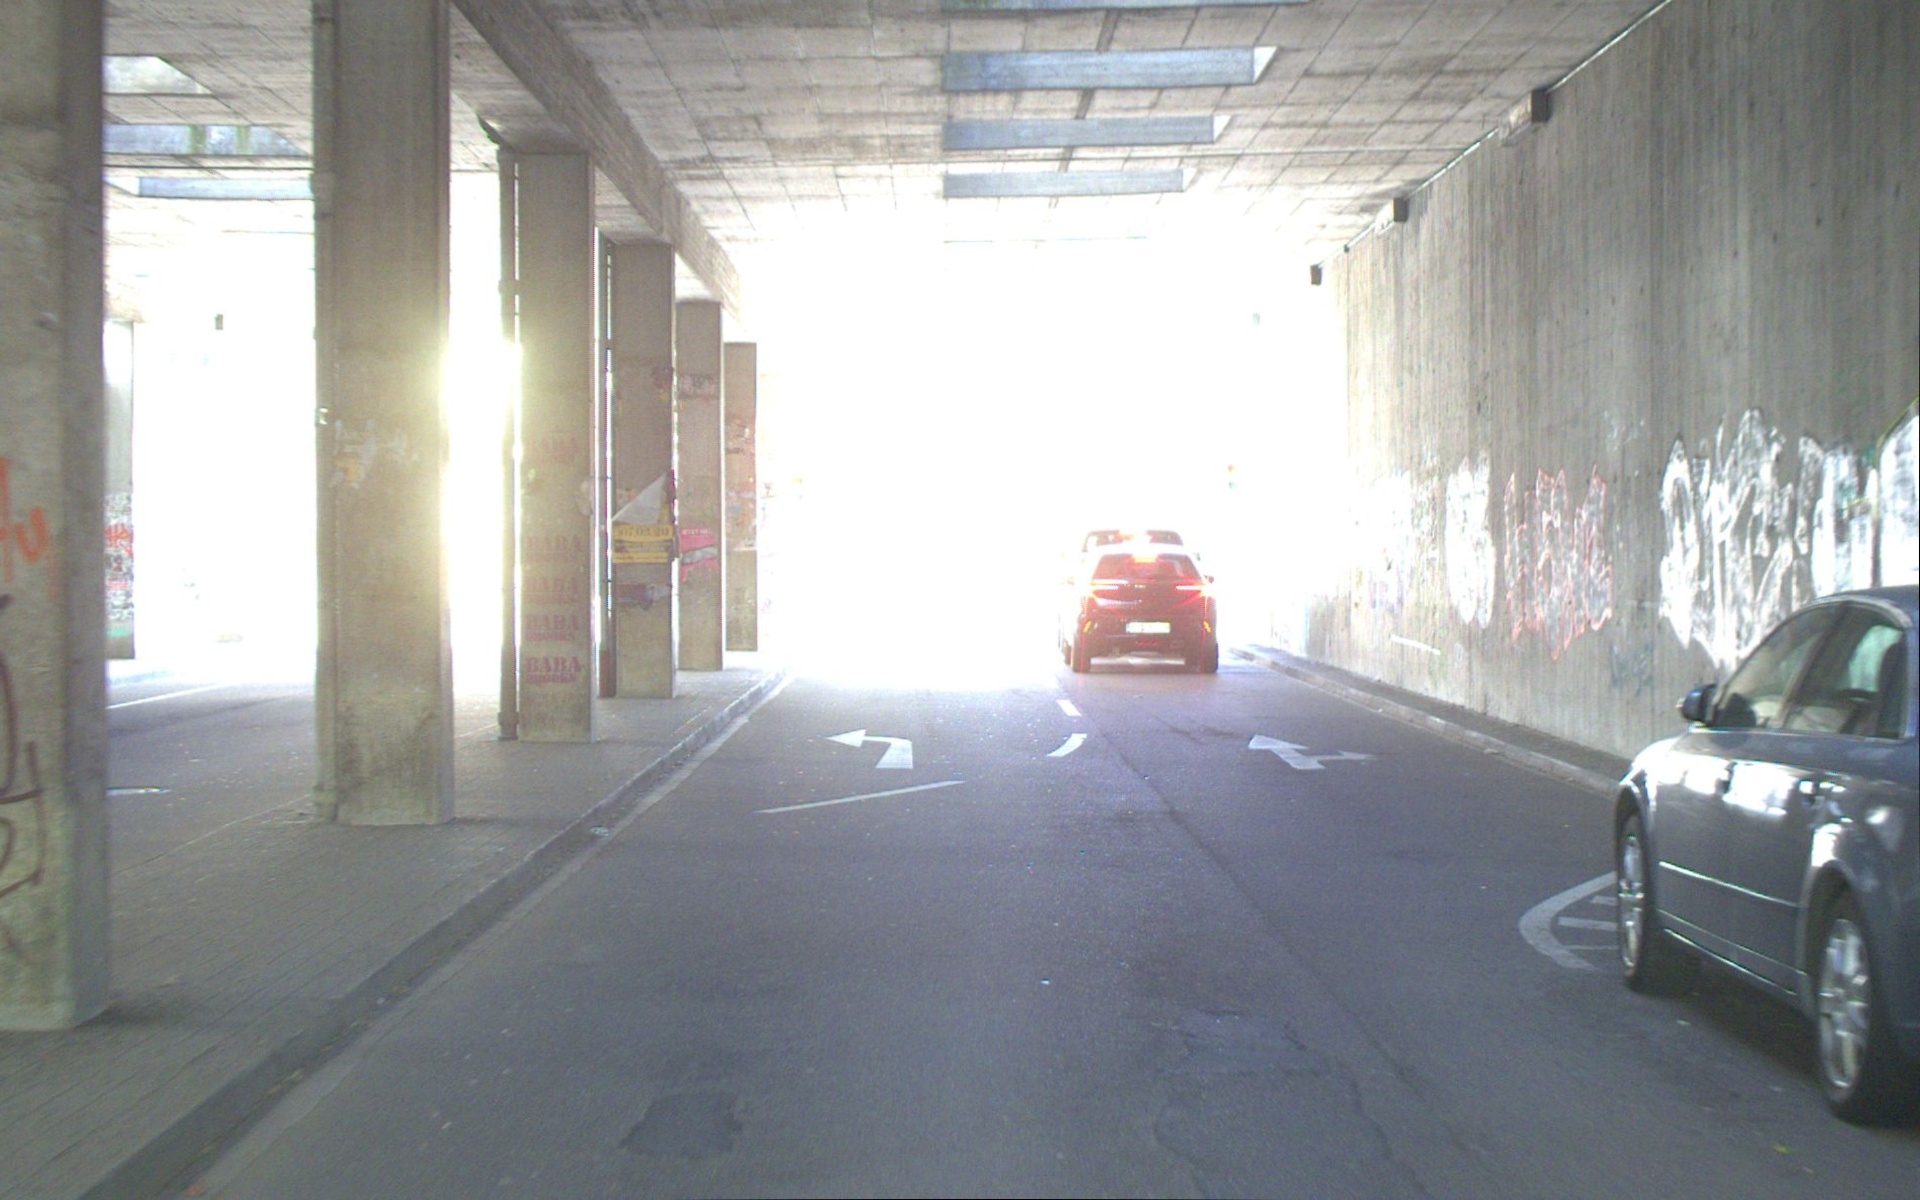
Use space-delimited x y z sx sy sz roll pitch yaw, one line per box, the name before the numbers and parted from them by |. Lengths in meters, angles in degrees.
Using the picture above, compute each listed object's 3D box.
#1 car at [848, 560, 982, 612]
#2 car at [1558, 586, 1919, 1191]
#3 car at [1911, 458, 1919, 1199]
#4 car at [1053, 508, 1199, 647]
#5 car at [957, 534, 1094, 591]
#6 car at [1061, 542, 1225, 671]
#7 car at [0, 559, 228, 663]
car | -1.373 -0.424 105.588 3.987 1.568 1.639 0 1 4
car | 3.067 0.678 10.288 1.701 1.369 4.374 0 1 -1
car | 2.855 0.611 4.633 1.853 1.660 4.371 0 1 -1
car | 2.322 -0.354 49.175 1.815 1.876 4.586 -1 1 0
car | 2.113 -1.203 109.689 4.152 1.733 2.000 -1 1 7
car | 2.226 0.042 42.785 1.826 1.496 4.211 0 1 0
car | -17.370 0.210 69.981 4.479 2.006 2.000 0 3 0
